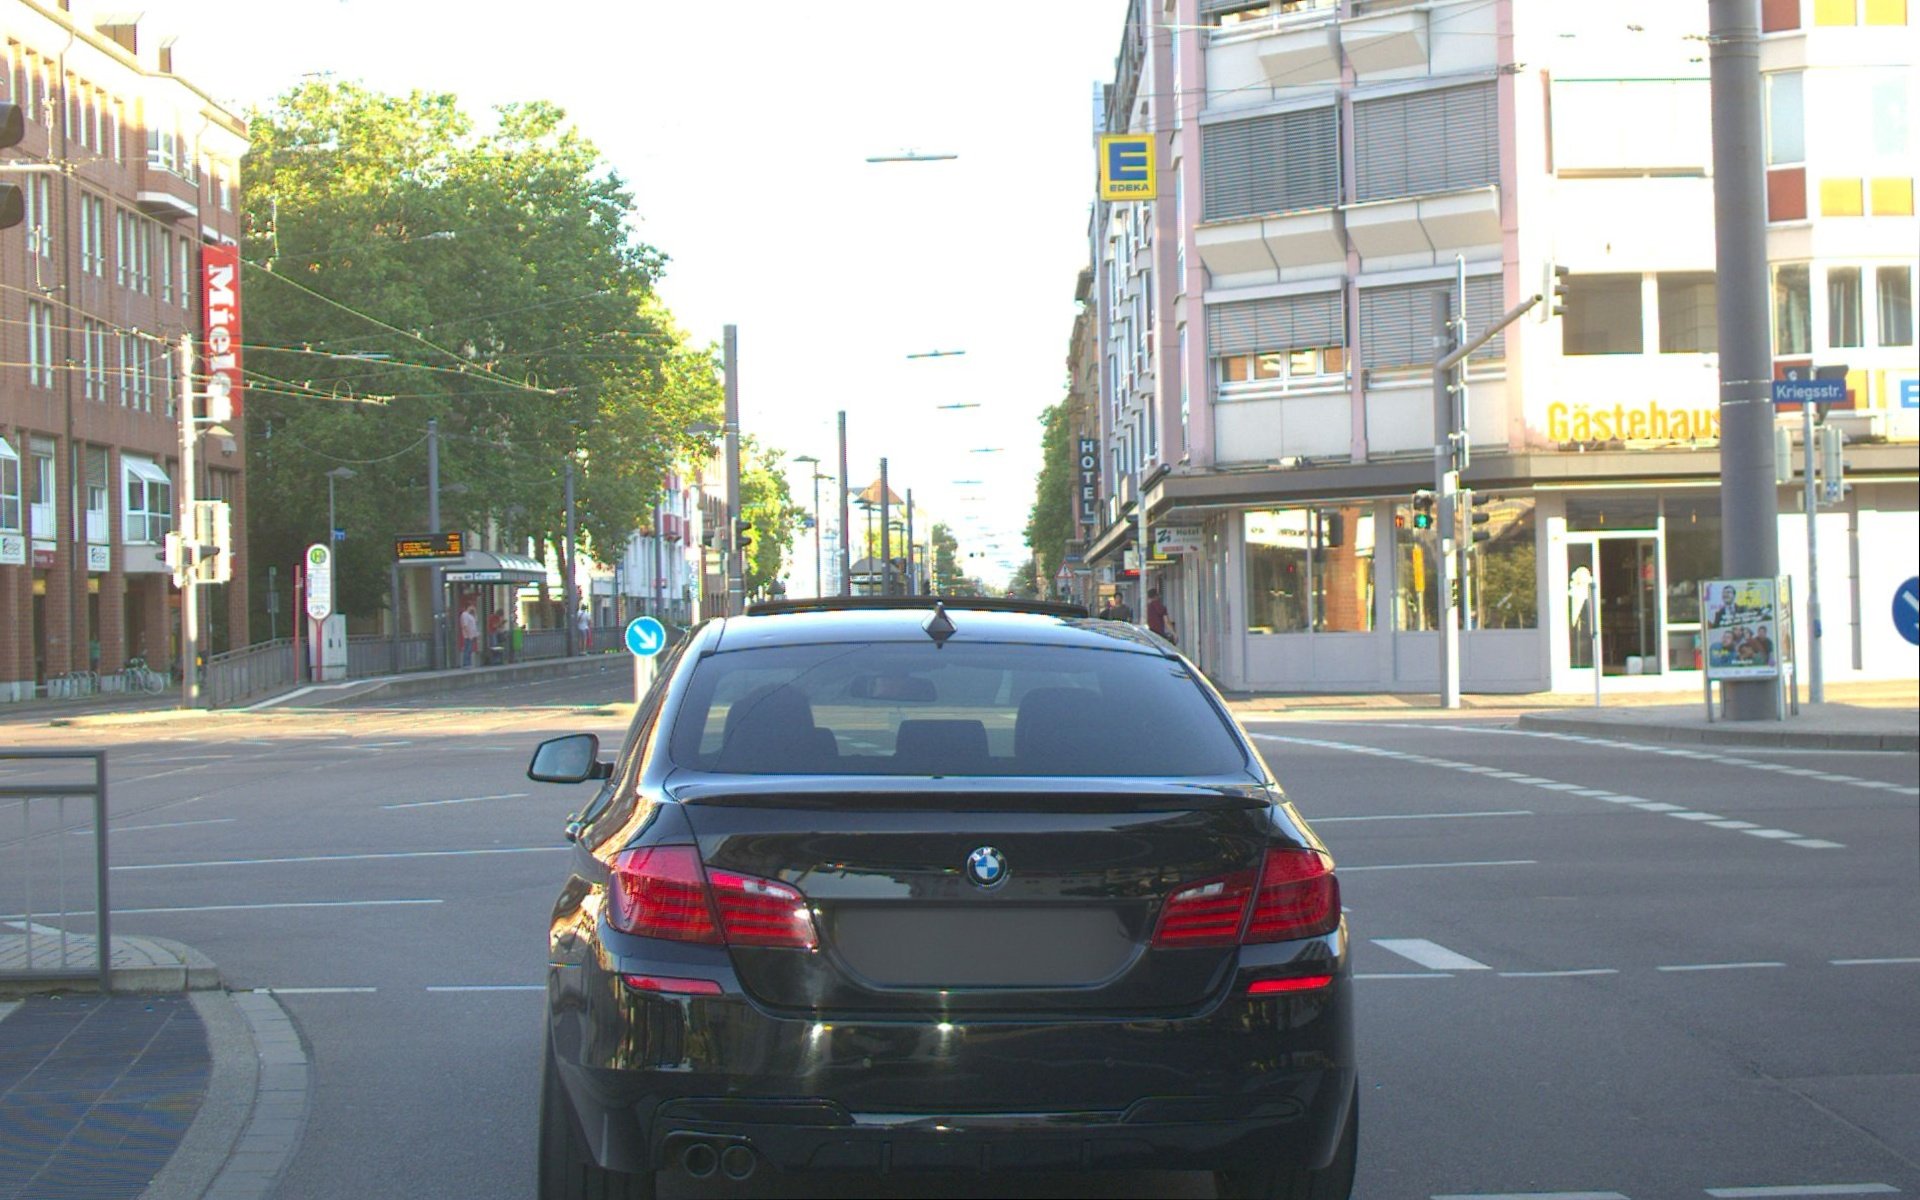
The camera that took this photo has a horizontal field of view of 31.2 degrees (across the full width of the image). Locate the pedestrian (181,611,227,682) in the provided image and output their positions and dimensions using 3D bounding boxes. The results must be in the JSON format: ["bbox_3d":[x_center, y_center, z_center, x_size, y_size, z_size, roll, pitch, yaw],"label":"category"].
[{"bbox_3d":[-21.561,1.320,98.067,1.085,2.007,1.085,-1,0,-4],"label":"pedestrian"}]

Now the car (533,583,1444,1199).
[{"bbox_3d":[-0.167,0.723,9.104,1.840,1.490,4.293,1,0,-6],"label":"car"}]

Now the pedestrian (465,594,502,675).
[{"bbox_3d":[-11.912,0.851,85.938,0.808,2.007,0.678,-1,0,-2],"label":"pedestrian"}]

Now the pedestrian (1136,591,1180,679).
[{"bbox_3d":[3.635,0.638,63.082,0.705,1.543,0.907,0,3,-3],"label":"pedestrian"}]
